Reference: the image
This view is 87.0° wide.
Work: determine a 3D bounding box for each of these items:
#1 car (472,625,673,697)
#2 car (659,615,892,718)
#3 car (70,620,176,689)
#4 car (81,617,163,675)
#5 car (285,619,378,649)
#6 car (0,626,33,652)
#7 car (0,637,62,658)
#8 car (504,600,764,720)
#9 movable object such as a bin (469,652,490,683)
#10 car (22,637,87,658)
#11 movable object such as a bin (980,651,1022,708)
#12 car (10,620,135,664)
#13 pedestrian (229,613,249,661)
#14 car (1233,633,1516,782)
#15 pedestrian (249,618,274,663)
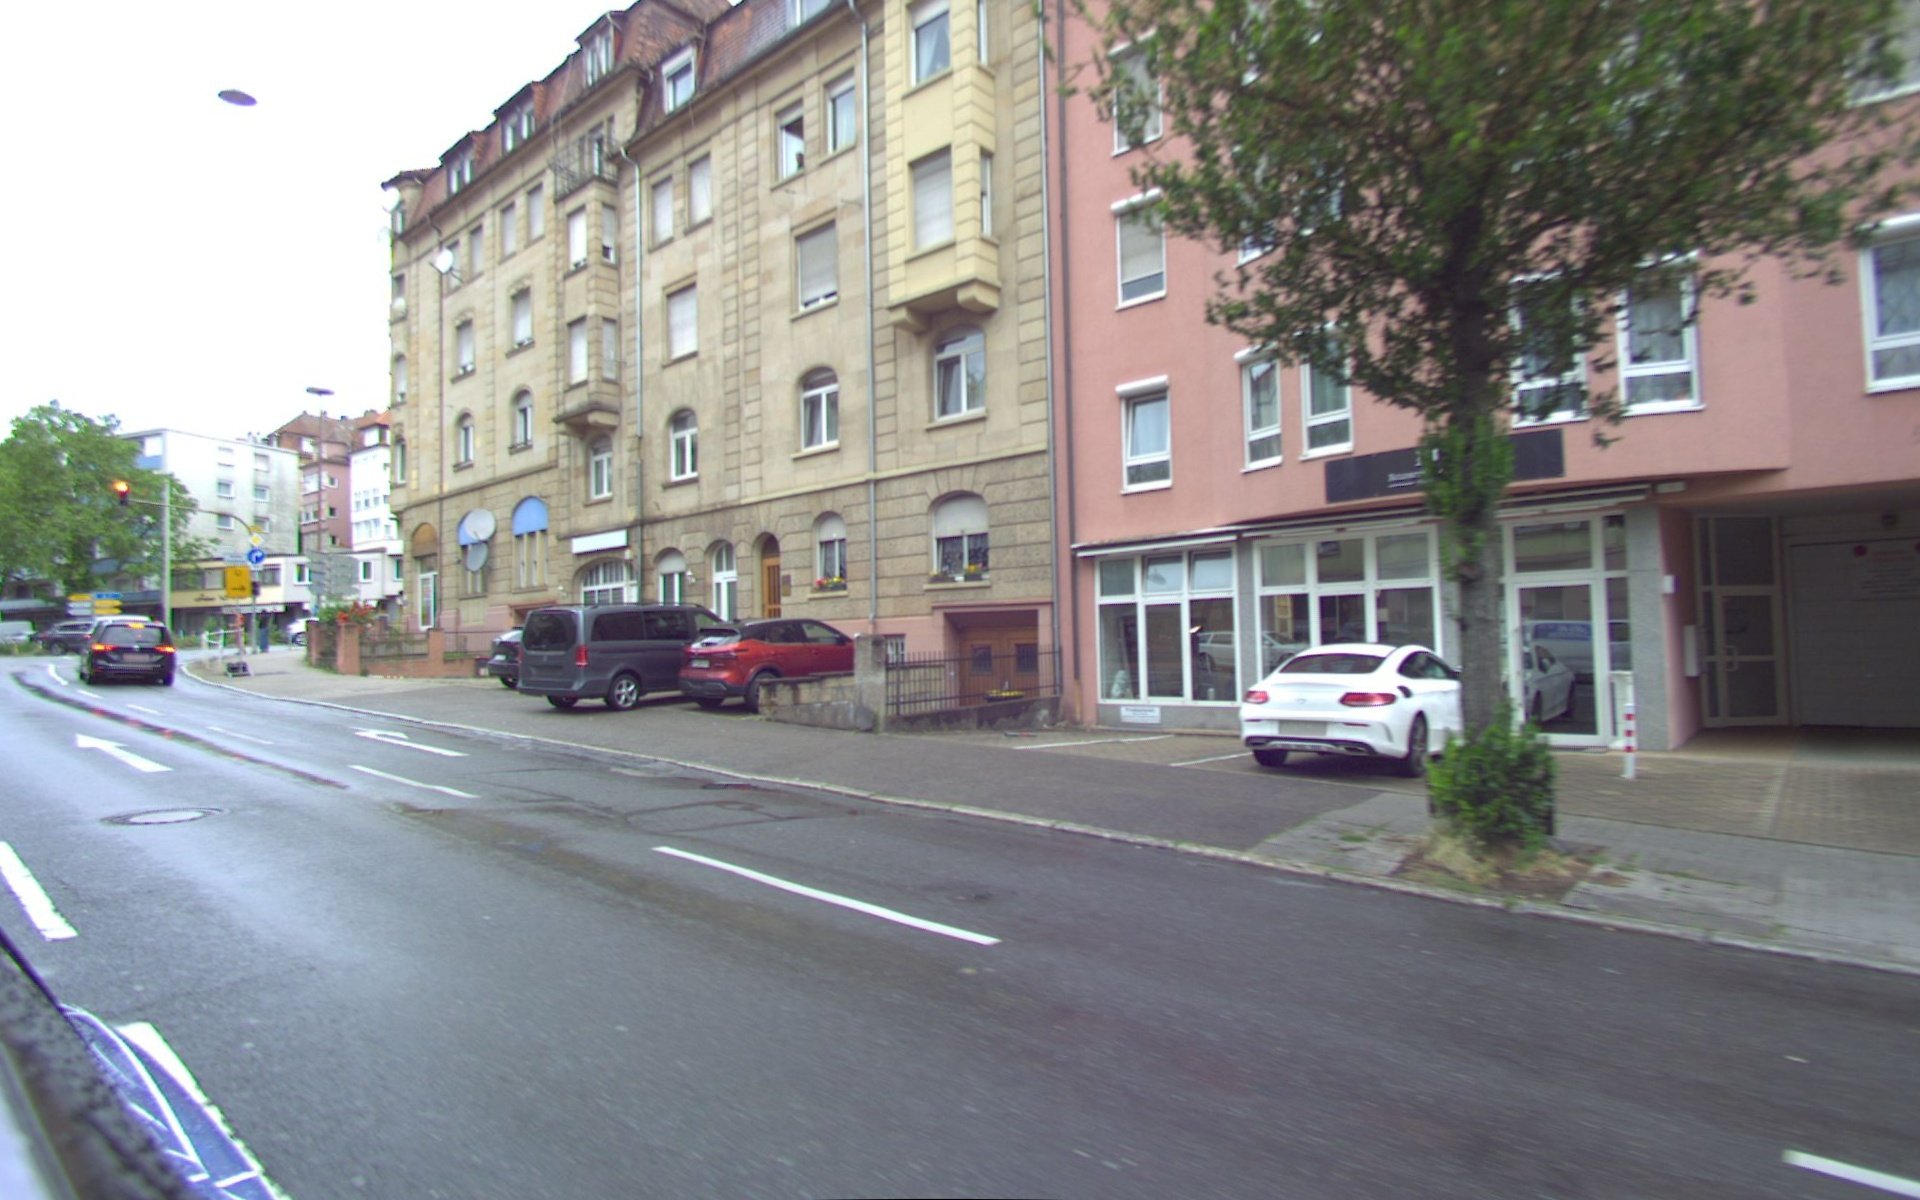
[{"bbox_3d":[-9.179,1.395,24.192,1.872,1.522,4.104,-2,-2,41],"label":"car"},{"bbox_3d":[-3.369,1.145,19.102,1.896,1.602,4.055,-1,0,40],"label":"car"},{"bbox_3d":[-22.154,1.415,26.727,4.421,1.662,1.602,-2,-5,44],"label":"car"},{"bbox_3d":[-27.364,1.423,33.039,1.940,1.706,4.815,1,0,-40],"label":"car"},{"bbox_3d":[-33.285,1.787,53.646,4.110,1.494,1.762,0,-2,-33],"label":"car"},{"bbox_3d":[-75.178,3.037,78.315,1.861,1.992,4.957,-1,0,12],"label":"car"},{"bbox_3d":[-70.450,3.558,76.433,1.790,1.426,3.697,0,0,7],"label":"car"},{"bbox_3d":[-6.039,1.026,19.351,1.857,1.953,4.640,-2,0,31],"label":"car"},{"bbox_3d":[-15.173,2.124,31.961,0.469,0.957,0.418,0,-1,-44],"label":"movable object such as a bin"},{"bbox_3d":[-68.223,3.552,76.298,1.609,1.426,3.619,0,0,3],"label":"car"},{"bbox_3d":[0.748,1.448,18.597,0.526,1.004,0.551,-1,-1,-43],"label":"movable object such as a bin"},{"bbox_3d":[-43.740,2.035,49.969,4.444,2.029,1.917,-1,0,-2],"label":"car"},{"bbox_3d":[-27.369,1.394,38.402,0.516,1.787,0.694,-1,-1,-42],"label":"pedestrian"},{"bbox_3d":[5.052,1.133,11.960,1.767,1.412,4.500,-2,-3,41],"label":"car"},{"bbox_3d":[-27.578,1.598,39.957,0.829,1.715,0.629,-2,-1,44],"label":"pedestrian"}]
